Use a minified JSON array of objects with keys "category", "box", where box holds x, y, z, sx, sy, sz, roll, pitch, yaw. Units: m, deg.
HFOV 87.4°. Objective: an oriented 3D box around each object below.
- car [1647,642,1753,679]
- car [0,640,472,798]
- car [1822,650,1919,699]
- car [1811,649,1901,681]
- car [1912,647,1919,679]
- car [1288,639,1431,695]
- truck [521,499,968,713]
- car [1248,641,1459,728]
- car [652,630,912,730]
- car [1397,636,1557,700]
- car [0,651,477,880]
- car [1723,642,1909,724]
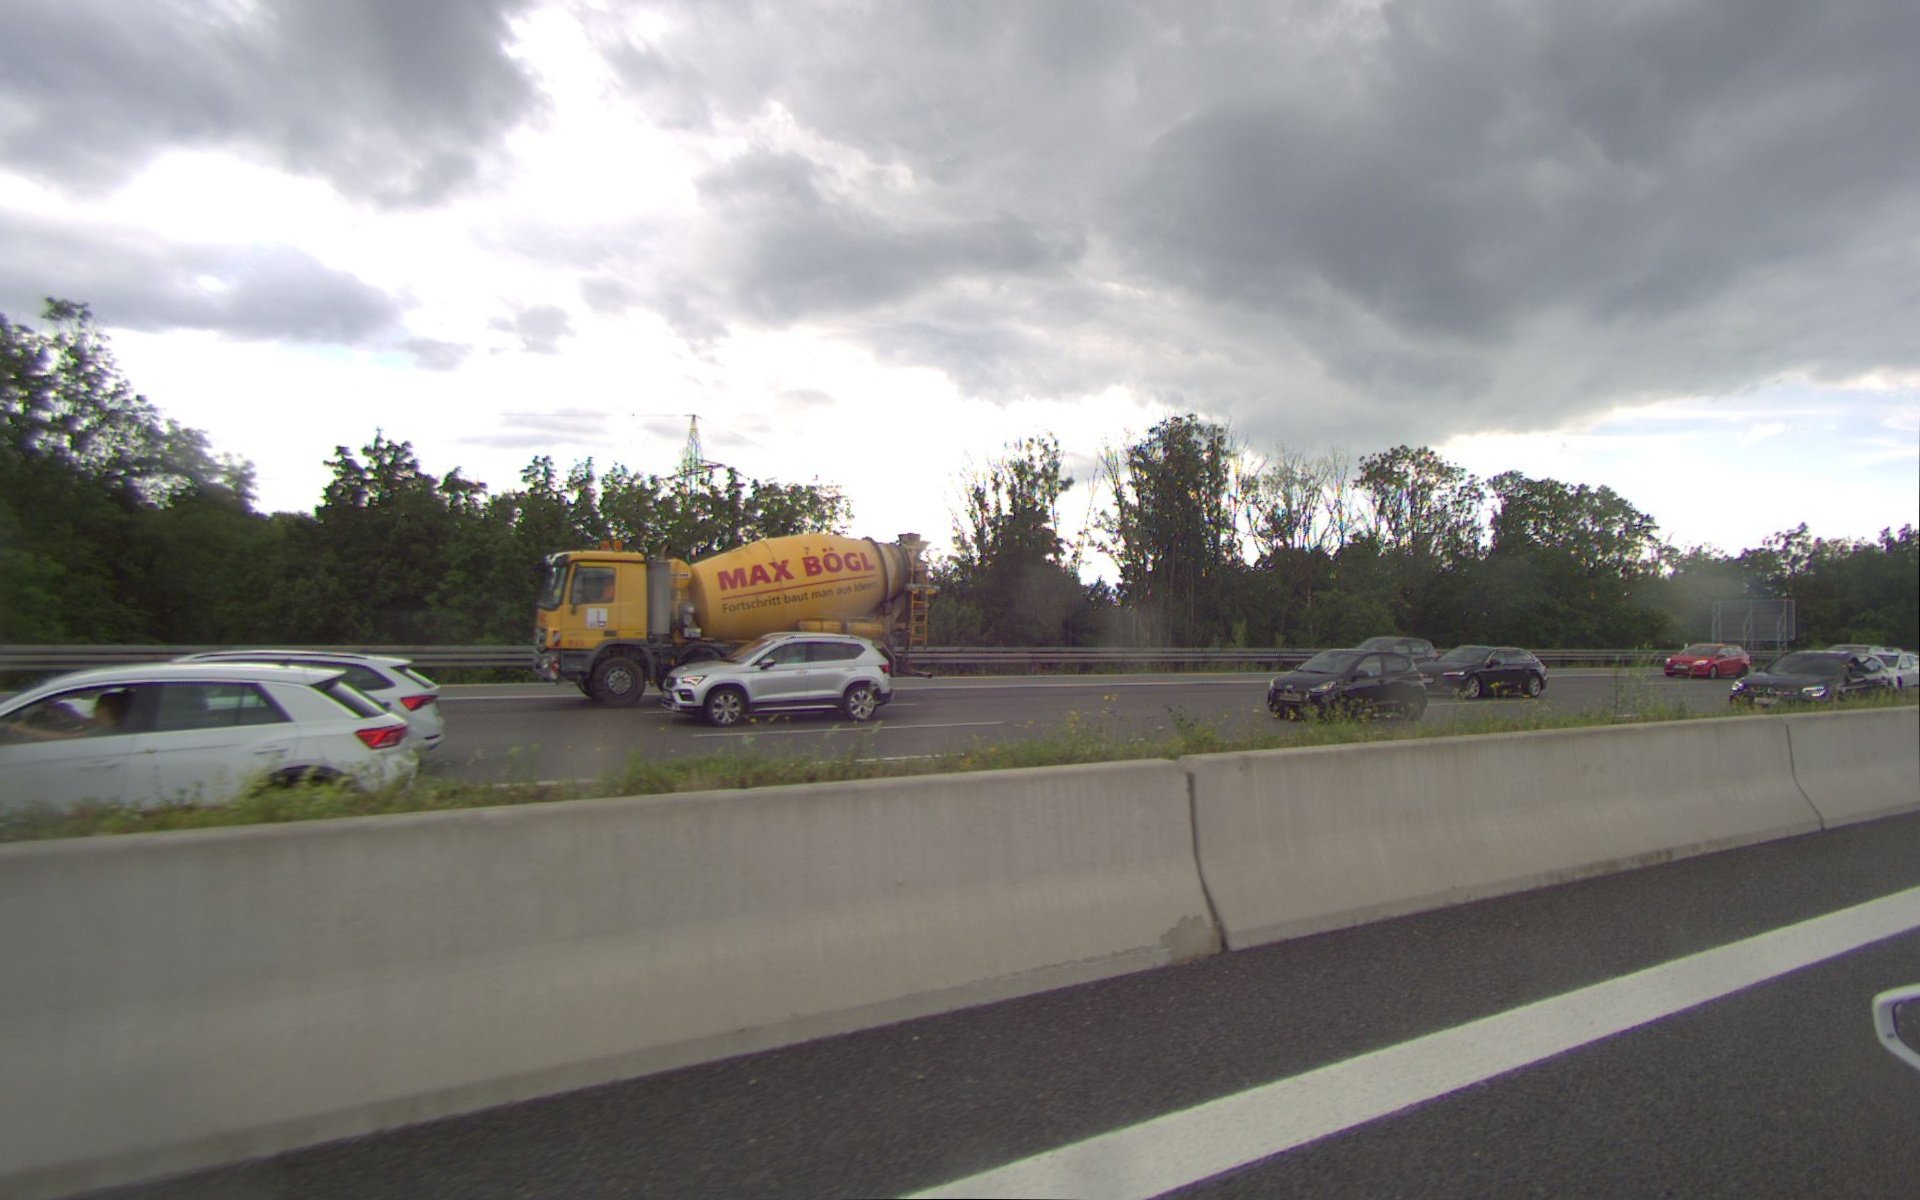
[{"category":"car","box":[32.501,2.625,44.099,4.855,1.514,1.973,2,-2,-30]},{"category":"car","box":[-8.443,1.279,11.758,4.791,1.489,1.715,2,0,-30]},{"category":"car","box":[32.112,2.554,34.956,4.857,1.514,1.714,2,0,-31]},{"category":"car","box":[45.201,3.249,50.644,4.855,1.514,1.973,2,-2,-30]},{"category":"car","box":[47.340,3.019,47.583,4.855,1.514,1.973,2,-2,-30]},{"category":"car","box":[13.129,2.165,32.928,4.855,1.624,1.715,2,0,-30]},{"category":"truck","box":[-4.633,0.228,22.789,9.470,4.068,2.901,2,-1,-30]},{"category":"car","box":[8.514,1.749,21.609,4.589,1.624,1.715,2,0,-30]},{"category":"car","box":[-3.293,1.438,18.833,4.465,1.624,1.715,2,0,-30]},{"category":"car","box":[14.981,1.926,29.025,4.855,1.624,1.715,2,0,-30]},{"category":"car","box":[-6.393,1.175,7.837,4.596,1.447,1.714,2,0,-31]},{"category":"car","box":[19.765,1.849,23.142,4.855,1.624,1.715,2,0,-30]}]
